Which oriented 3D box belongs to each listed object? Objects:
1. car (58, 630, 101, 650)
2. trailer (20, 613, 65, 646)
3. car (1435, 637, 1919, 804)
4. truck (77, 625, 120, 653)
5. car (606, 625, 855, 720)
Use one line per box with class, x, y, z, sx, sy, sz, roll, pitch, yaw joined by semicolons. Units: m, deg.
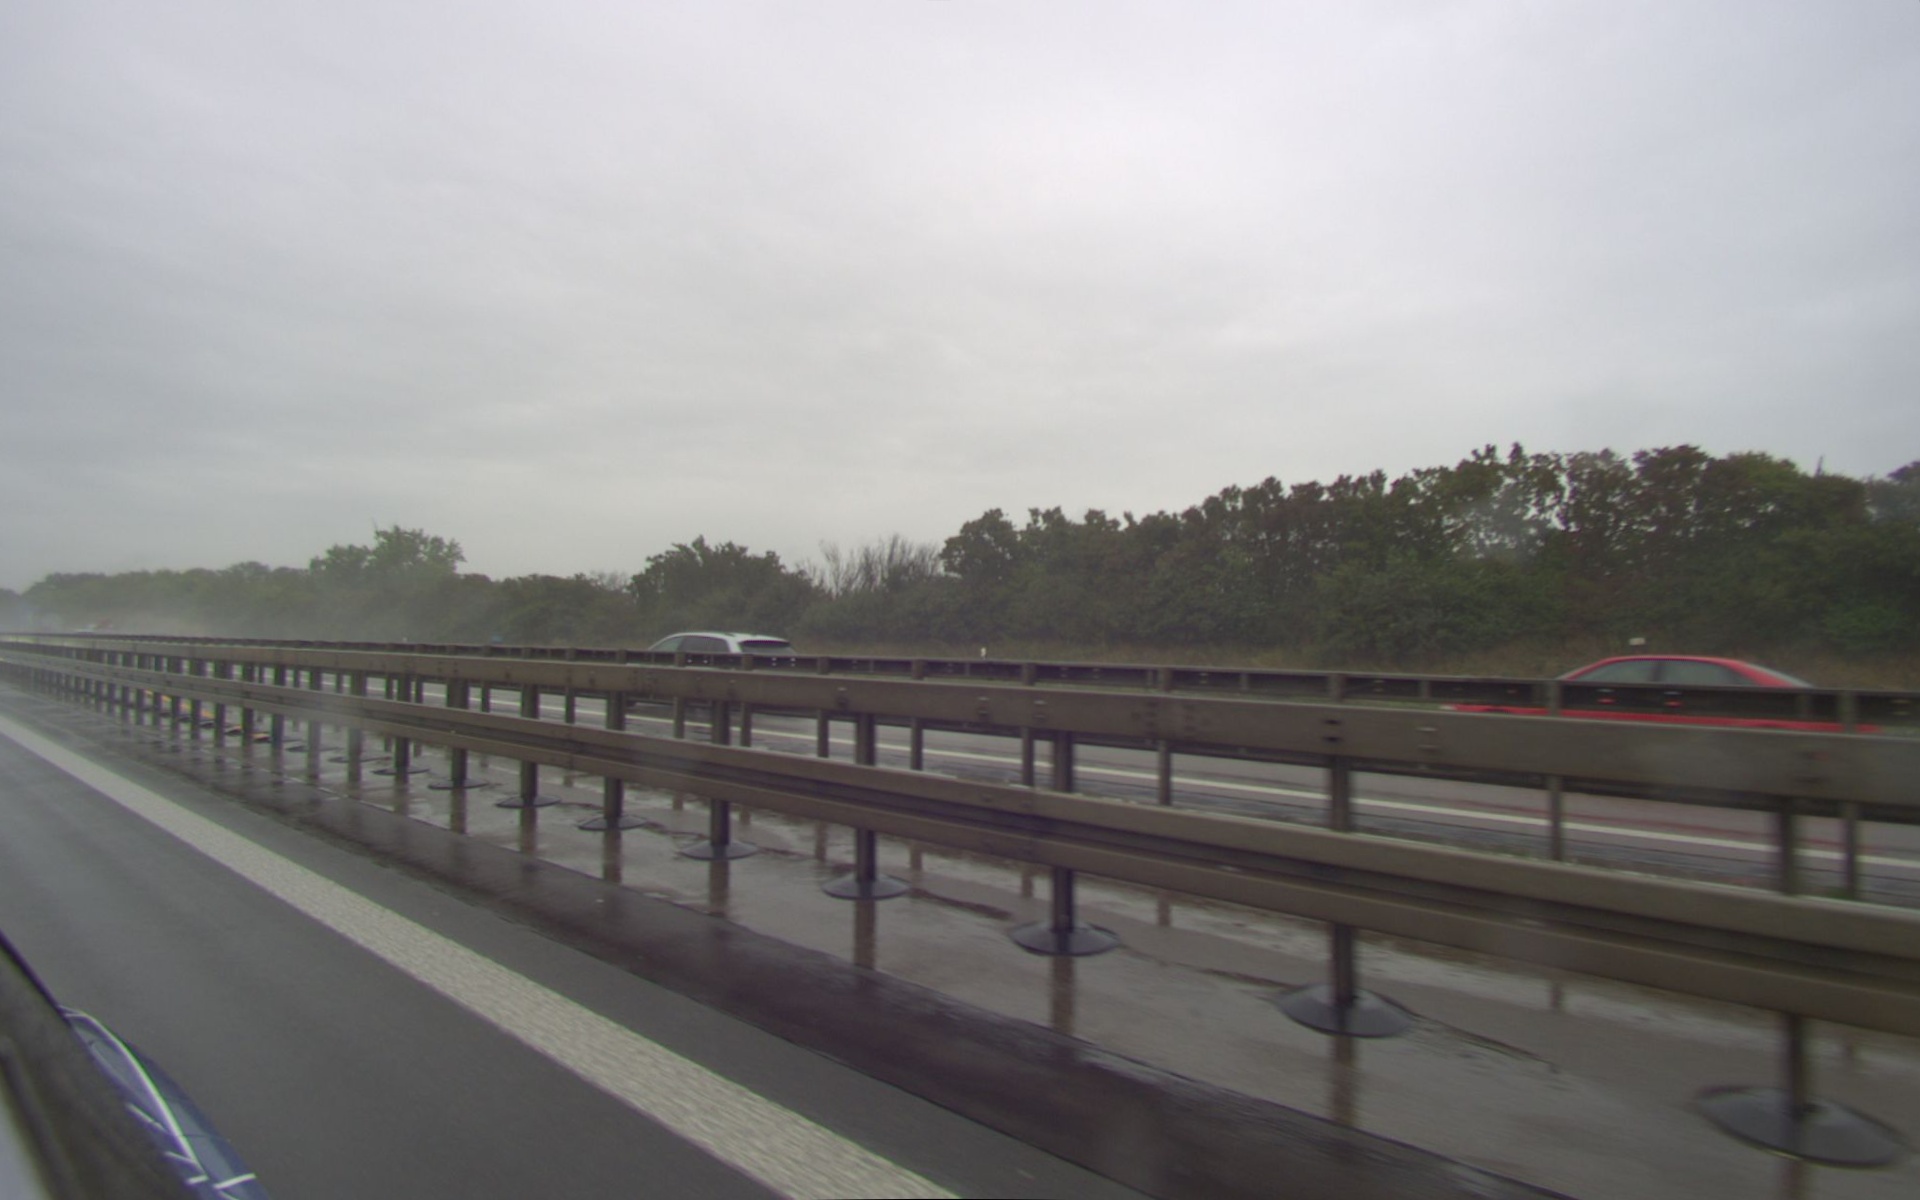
car;-71.351;3.224;81.969;4.652;1.542;1.973;-2;-1;41
trailer;-111.766;3.556;123.204;13.579;3.833;2.606;-2;-1;42
car;8.300;1.233;11.775;4.644;1.524;1.973;-2;-1;41
truck;-85.417;3.845;100.293;6.260;2.639;2.303;-2;-1;41
car;-4.213;1.222;18.152;4.644;1.445;1.973;-2;-1;41
